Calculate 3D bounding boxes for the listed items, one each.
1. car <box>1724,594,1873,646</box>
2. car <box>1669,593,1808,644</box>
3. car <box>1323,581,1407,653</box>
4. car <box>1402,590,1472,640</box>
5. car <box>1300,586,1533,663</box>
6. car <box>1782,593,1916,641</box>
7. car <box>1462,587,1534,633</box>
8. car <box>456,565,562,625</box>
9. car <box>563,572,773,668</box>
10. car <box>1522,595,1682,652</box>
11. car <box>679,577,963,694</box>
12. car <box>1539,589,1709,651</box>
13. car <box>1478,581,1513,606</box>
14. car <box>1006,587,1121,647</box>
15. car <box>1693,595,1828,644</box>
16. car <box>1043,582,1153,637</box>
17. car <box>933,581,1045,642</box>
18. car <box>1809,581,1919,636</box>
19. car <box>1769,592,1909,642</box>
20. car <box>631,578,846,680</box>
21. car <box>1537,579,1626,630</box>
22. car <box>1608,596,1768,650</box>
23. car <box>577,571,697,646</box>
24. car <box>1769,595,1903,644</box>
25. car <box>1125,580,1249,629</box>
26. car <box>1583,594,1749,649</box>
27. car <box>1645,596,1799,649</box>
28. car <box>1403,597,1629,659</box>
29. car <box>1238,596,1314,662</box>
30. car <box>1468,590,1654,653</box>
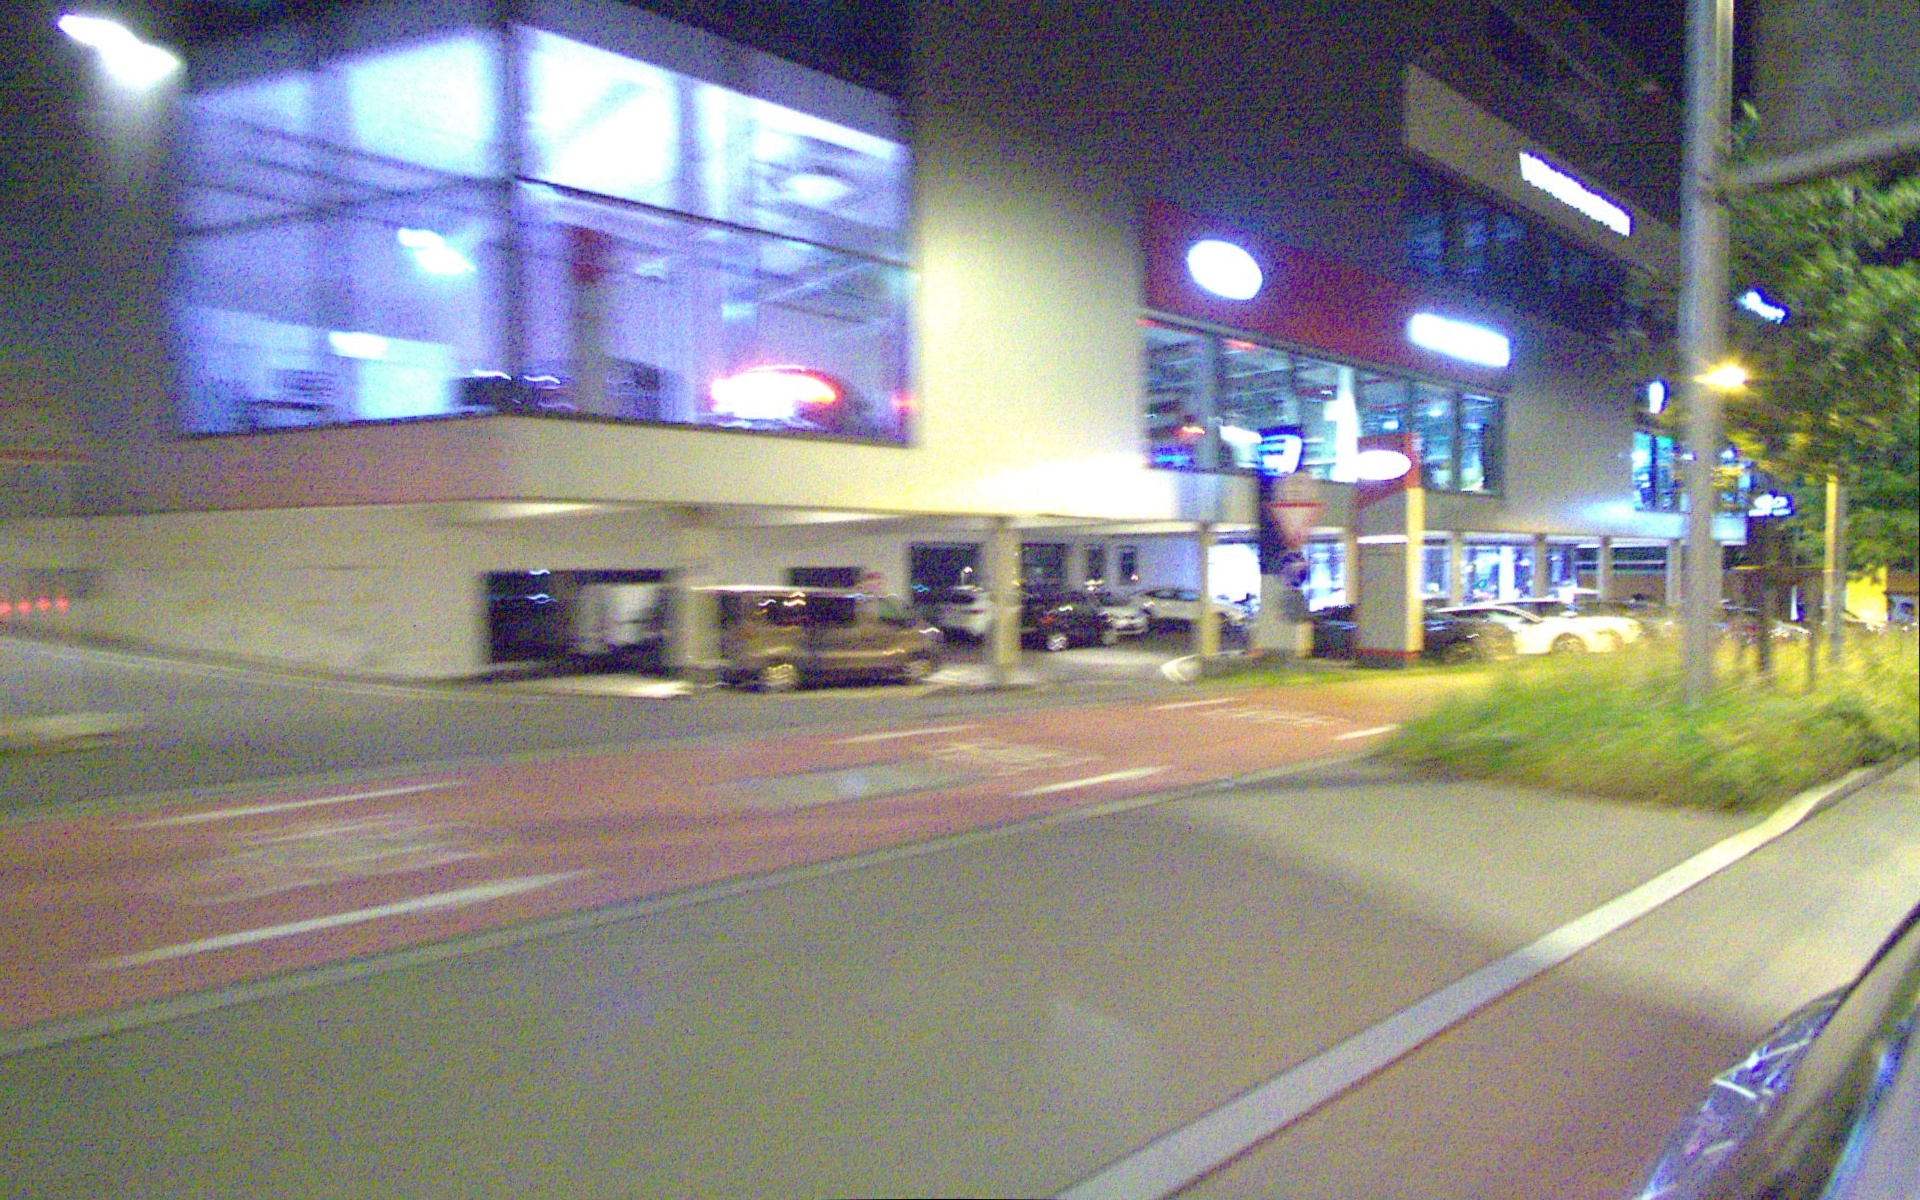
[{"bbox_3d":[33.852,0.747,40.943,4.463,1.565,1.742,8,6,43],"label":"car"},{"bbox_3d":[27.737,0.615,36.153,3.764,1.395,1.692,7,4,40],"label":"car"},{"bbox_3d":[11.618,0.425,29.240,1.564,1.817,3.859,0,3,12],"label":"car"},{"bbox_3d":[15.334,0.450,32.659,1.300,1.505,3.062,1,0,11],"label":"car"},{"bbox_3d":[9.440,0.457,21.075,4.115,1.438,1.850,0,0,39],"label":"car"},{"bbox_3d":[40.706,0.754,46.459,4.460,1.832,1.969,5,2,42],"label":"car"},{"bbox_3d":[18.655,0.317,35.243,1.605,1.483,3.771,1,0,19],"label":"car"},{"bbox_3d":[-16.553,-0.195,37.073,4.585,2.039,2.041,1,0,45],"label":"car"},{"bbox_3d":[-6.748,0.418,23.684,4.337,2.019,1.952,0,0,-45],"label":"car"},{"bbox_3d":[17.490,0.598,27.761,3.581,1.451,1.663,1,0,29],"label":"car"},{"bbox_3d":[-2.608,0.615,20.263,5.534,2.039,1.995,0,0,-44],"label":"car"},{"bbox_3d":[19.295,0.543,29.580,3.973,1.488,1.811,4,2,34],"label":"car"},{"bbox_3d":[37.354,-0.484,70.541,1.983,1.682,4.619,1,1,30],"label":"car"},{"bbox_3d":[3.102,0.450,29.982,3.361,1.531,1.635,-3,4,-44],"label":"car"},{"bbox_3d":[29.707,0.690,37.652,3.797,1.471,1.693,5,3,39],"label":"car"},{"bbox_3d":[4.566,0.252,33.813,1.716,1.604,3.490,-2,3,-36],"label":"car"},{"bbox_3d":[0.929,0.295,31.168,3.246,1.661,1.635,-2,5,-44],"label":"car"},{"bbox_3d":[51.537,0.542,56.449,6.005,2.559,2.254,8,4,36],"label":"car"},{"bbox_3d":[38.700,0.710,44.658,4.462,1.707,1.969,7,4,42],"label":"car"},{"bbox_3d":[-4.764,0.575,22.222,4.337,2.019,1.812,0,0,-45],"label":"car"},{"bbox_3d":[25.324,0.166,41.416,1.809,1.942,4.804,0,0,15],"label":"car"},{"bbox_3d":[23.519,0.695,32.766,3.987,1.398,1.781,5,2,42],"label":"car"},{"bbox_3d":[-9.365,0.210,29.229,3.703,2.039,1.721,1,0,43],"label":"car"},{"bbox_3d":[36.711,0.794,42.525,4.081,1.587,1.826,7,4,42],"label":"car"},{"bbox_3d":[8.189,0.135,36.451,4.260,1.675,1.649,1,0,16],"label":"car"},{"bbox_3d":[21.561,0.632,31.121,3.968,1.409,1.806,3,0,31],"label":"car"},{"bbox_3d":[25.773,0.714,34.379,4.015,1.390,1.801,6,3,37],"label":"car"},{"bbox_3d":[13.287,0.637,24.450,4.601,1.280,1.928,1,-1,28],"label":"car"},{"bbox_3d":[8.380,0.694,26.810,1.755,1.426,4.315,1,2,18],"label":"car"},{"bbox_3d":[15.432,0.528,26.047,3.975,1.442,1.885,1,-1,35],"label":"car"}]
